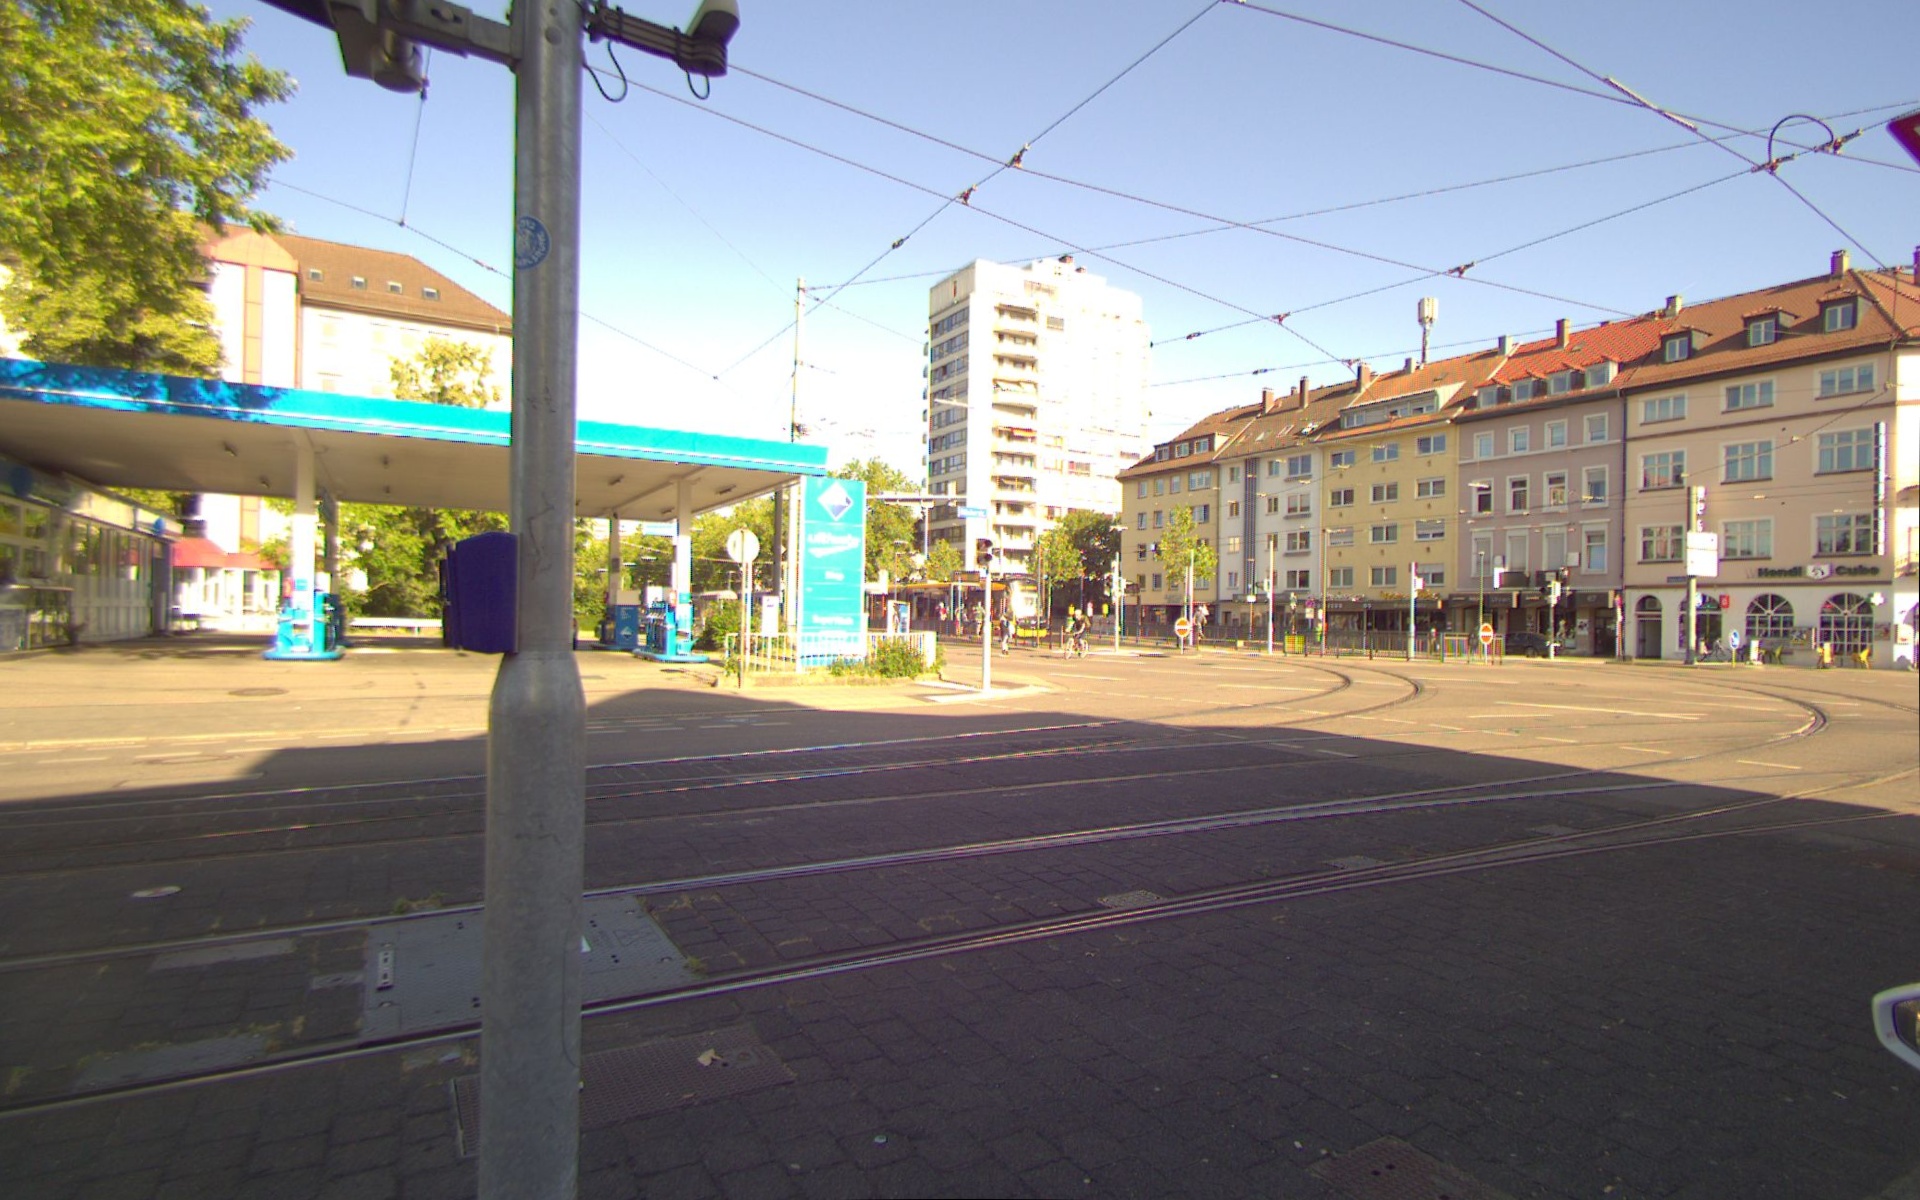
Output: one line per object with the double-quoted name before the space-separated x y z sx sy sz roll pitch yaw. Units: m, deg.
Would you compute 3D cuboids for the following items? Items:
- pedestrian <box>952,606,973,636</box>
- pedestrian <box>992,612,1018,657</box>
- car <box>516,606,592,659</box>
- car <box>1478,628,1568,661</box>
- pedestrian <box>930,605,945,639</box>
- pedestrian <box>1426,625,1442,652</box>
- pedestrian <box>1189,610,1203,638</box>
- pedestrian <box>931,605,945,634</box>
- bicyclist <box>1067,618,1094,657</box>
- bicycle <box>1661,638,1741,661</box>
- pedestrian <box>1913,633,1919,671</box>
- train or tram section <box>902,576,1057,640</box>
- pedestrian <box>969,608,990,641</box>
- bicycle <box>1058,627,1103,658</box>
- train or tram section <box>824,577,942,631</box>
"pedestrian" 0.135 1.094 52.306 0.814 1.532 0.699 1 -1 -33
"pedestrian" 1.686 1.301 37.926 0.675 1.656 0.694 2 0 -35
"car" -12.212 0.943 30.118 1.764 1.411 3.455 2 0 -28
"car" 30.856 2.421 55.140 1.970 1.692 3.981 1 -1 -21
"pedestrian" -1.300 1.254 57.449 0.666 1.913 0.520 2 0 -31
"pedestrian" 29.794 2.438 63.106 0.693 1.656 0.629 2 0 -33
"pedestrian" 14.158 1.433 60.255 0.570 1.649 0.522 2 0 -31
"pedestrian" -1.237 1.084 56.545 0.580 1.613 0.520 2 0 -31
"bicyclist" 4.326 1.347 36.078 0.797 1.384 0.553 2 0 -45
"bicycle" 37.500 2.495 50.895 0.989 0.993 3.115 2 0 -29
"pedestrian" 41.595 2.248 43.307 0.460 1.633 0.629 2 0 -33
"train or tram section" 0.752 0.350 57.527 2.751 3.273 12.286 2 0 -31
"pedestrian" 0.982 1.222 50.452 0.814 1.608 0.699 1 -1 -33
"bicycle" 4.342 1.524 36.107 1.782 1.084 0.567 2 0 -44
"train or tram section" -5.480 0.206 67.989 2.751 3.273 12.286 2 0 -31
